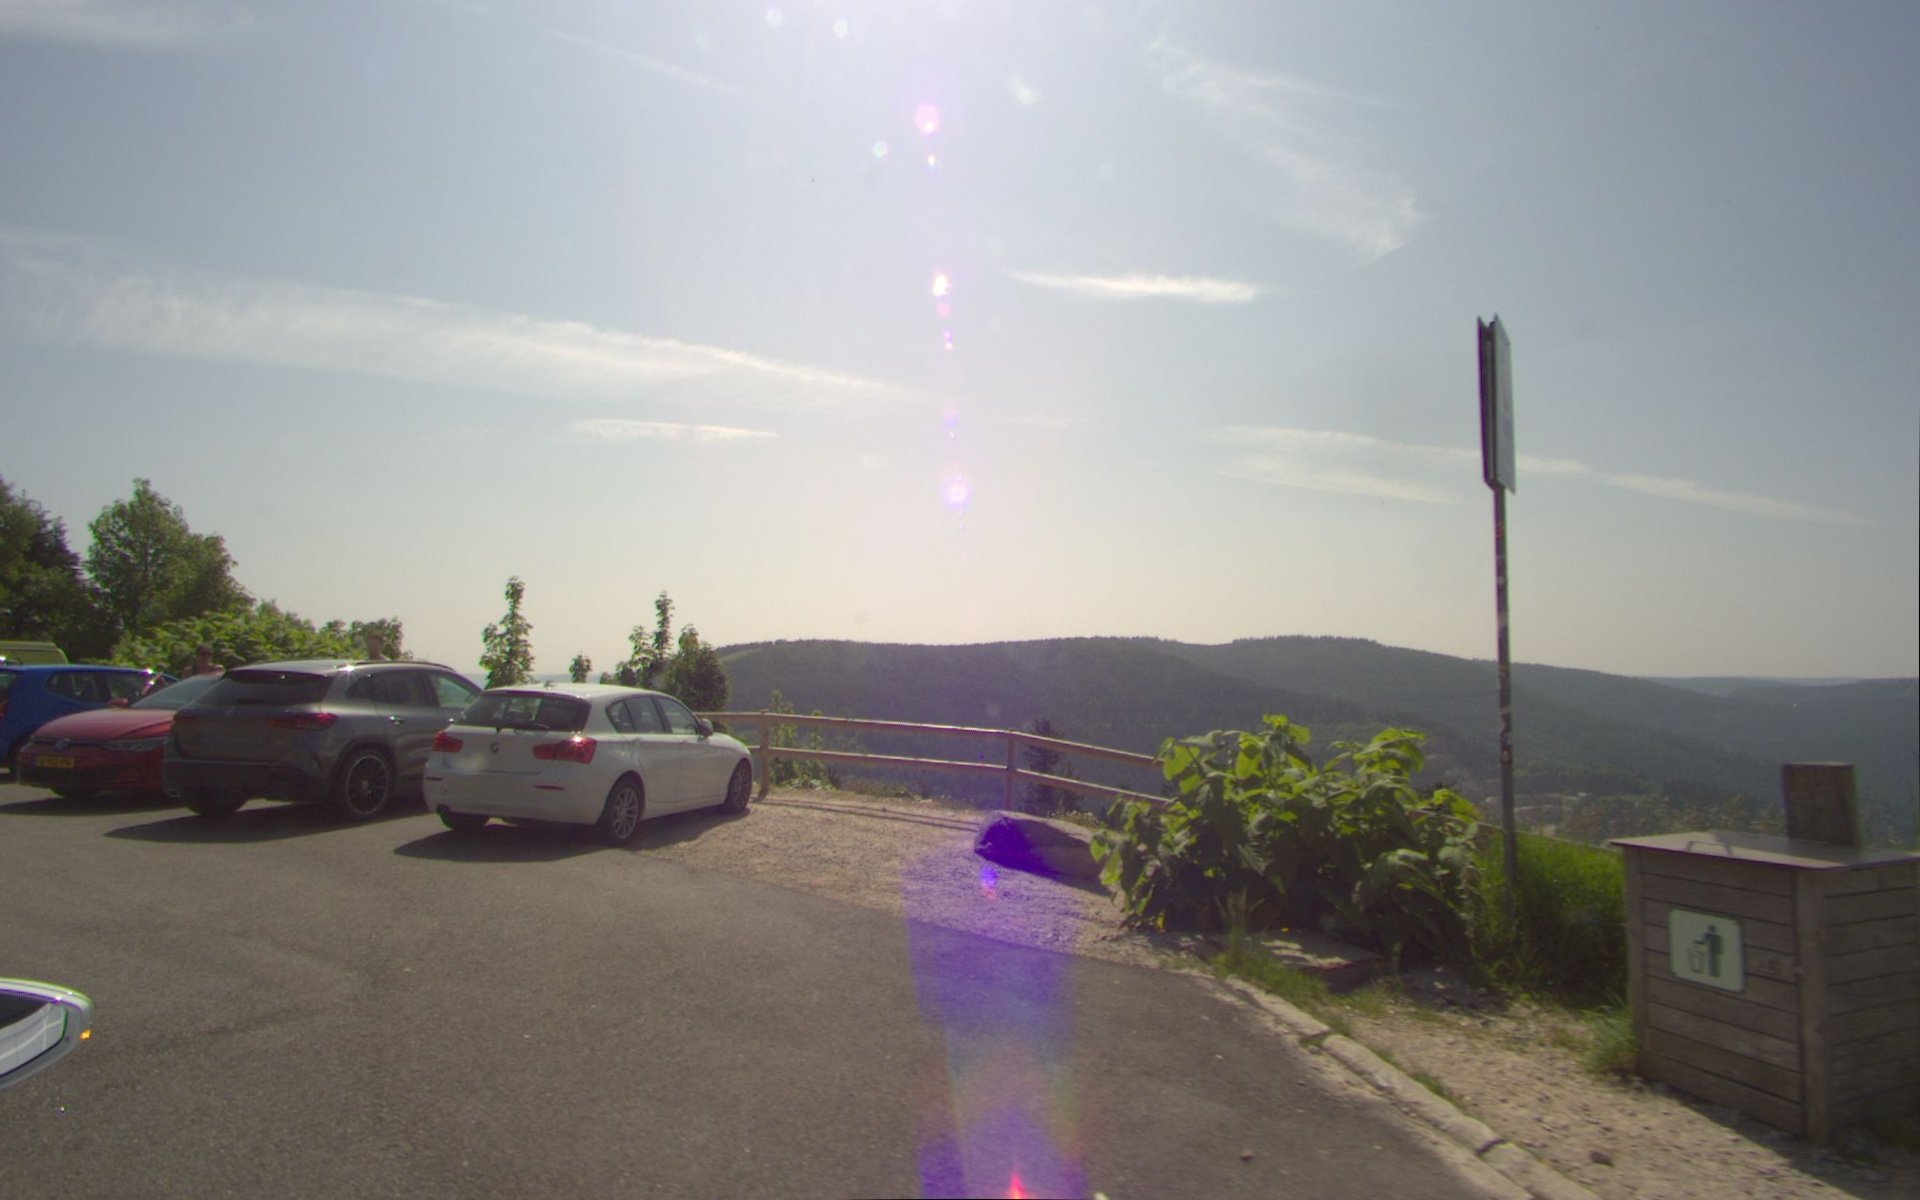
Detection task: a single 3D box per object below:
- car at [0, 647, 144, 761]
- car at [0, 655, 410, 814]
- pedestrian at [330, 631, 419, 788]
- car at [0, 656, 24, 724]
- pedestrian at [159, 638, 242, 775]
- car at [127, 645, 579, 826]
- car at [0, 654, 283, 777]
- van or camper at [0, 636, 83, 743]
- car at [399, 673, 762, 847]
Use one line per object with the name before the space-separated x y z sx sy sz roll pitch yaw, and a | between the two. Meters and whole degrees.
car | -14.738 1.491 14.591 1.881 1.632 4.002 0 -5 15
car | -8.912 1.535 12.061 1.807 1.527 4.005 1 -5 11
pedestrian | -7.449 1.386 12.747 0.668 1.921 0.609 -2 -6 27
car | -22.567 1.908 20.696 1.780 1.506 4.361 0 -3 17
pedestrian | -9.970 1.397 13.161 0.556 1.744 0.506 0 -5 8
car | -6.406 1.448 11.343 1.871 1.586 4.417 1 -6 10
car | -12.043 1.622 14.294 1.619 1.512 3.591 0 -6 21
van or camper | -19.630 1.561 18.238 1.850 2.036 5.103 0 -7 22
car | -3.612 1.538 10.417 1.625 1.401 4.005 0 -6 11
